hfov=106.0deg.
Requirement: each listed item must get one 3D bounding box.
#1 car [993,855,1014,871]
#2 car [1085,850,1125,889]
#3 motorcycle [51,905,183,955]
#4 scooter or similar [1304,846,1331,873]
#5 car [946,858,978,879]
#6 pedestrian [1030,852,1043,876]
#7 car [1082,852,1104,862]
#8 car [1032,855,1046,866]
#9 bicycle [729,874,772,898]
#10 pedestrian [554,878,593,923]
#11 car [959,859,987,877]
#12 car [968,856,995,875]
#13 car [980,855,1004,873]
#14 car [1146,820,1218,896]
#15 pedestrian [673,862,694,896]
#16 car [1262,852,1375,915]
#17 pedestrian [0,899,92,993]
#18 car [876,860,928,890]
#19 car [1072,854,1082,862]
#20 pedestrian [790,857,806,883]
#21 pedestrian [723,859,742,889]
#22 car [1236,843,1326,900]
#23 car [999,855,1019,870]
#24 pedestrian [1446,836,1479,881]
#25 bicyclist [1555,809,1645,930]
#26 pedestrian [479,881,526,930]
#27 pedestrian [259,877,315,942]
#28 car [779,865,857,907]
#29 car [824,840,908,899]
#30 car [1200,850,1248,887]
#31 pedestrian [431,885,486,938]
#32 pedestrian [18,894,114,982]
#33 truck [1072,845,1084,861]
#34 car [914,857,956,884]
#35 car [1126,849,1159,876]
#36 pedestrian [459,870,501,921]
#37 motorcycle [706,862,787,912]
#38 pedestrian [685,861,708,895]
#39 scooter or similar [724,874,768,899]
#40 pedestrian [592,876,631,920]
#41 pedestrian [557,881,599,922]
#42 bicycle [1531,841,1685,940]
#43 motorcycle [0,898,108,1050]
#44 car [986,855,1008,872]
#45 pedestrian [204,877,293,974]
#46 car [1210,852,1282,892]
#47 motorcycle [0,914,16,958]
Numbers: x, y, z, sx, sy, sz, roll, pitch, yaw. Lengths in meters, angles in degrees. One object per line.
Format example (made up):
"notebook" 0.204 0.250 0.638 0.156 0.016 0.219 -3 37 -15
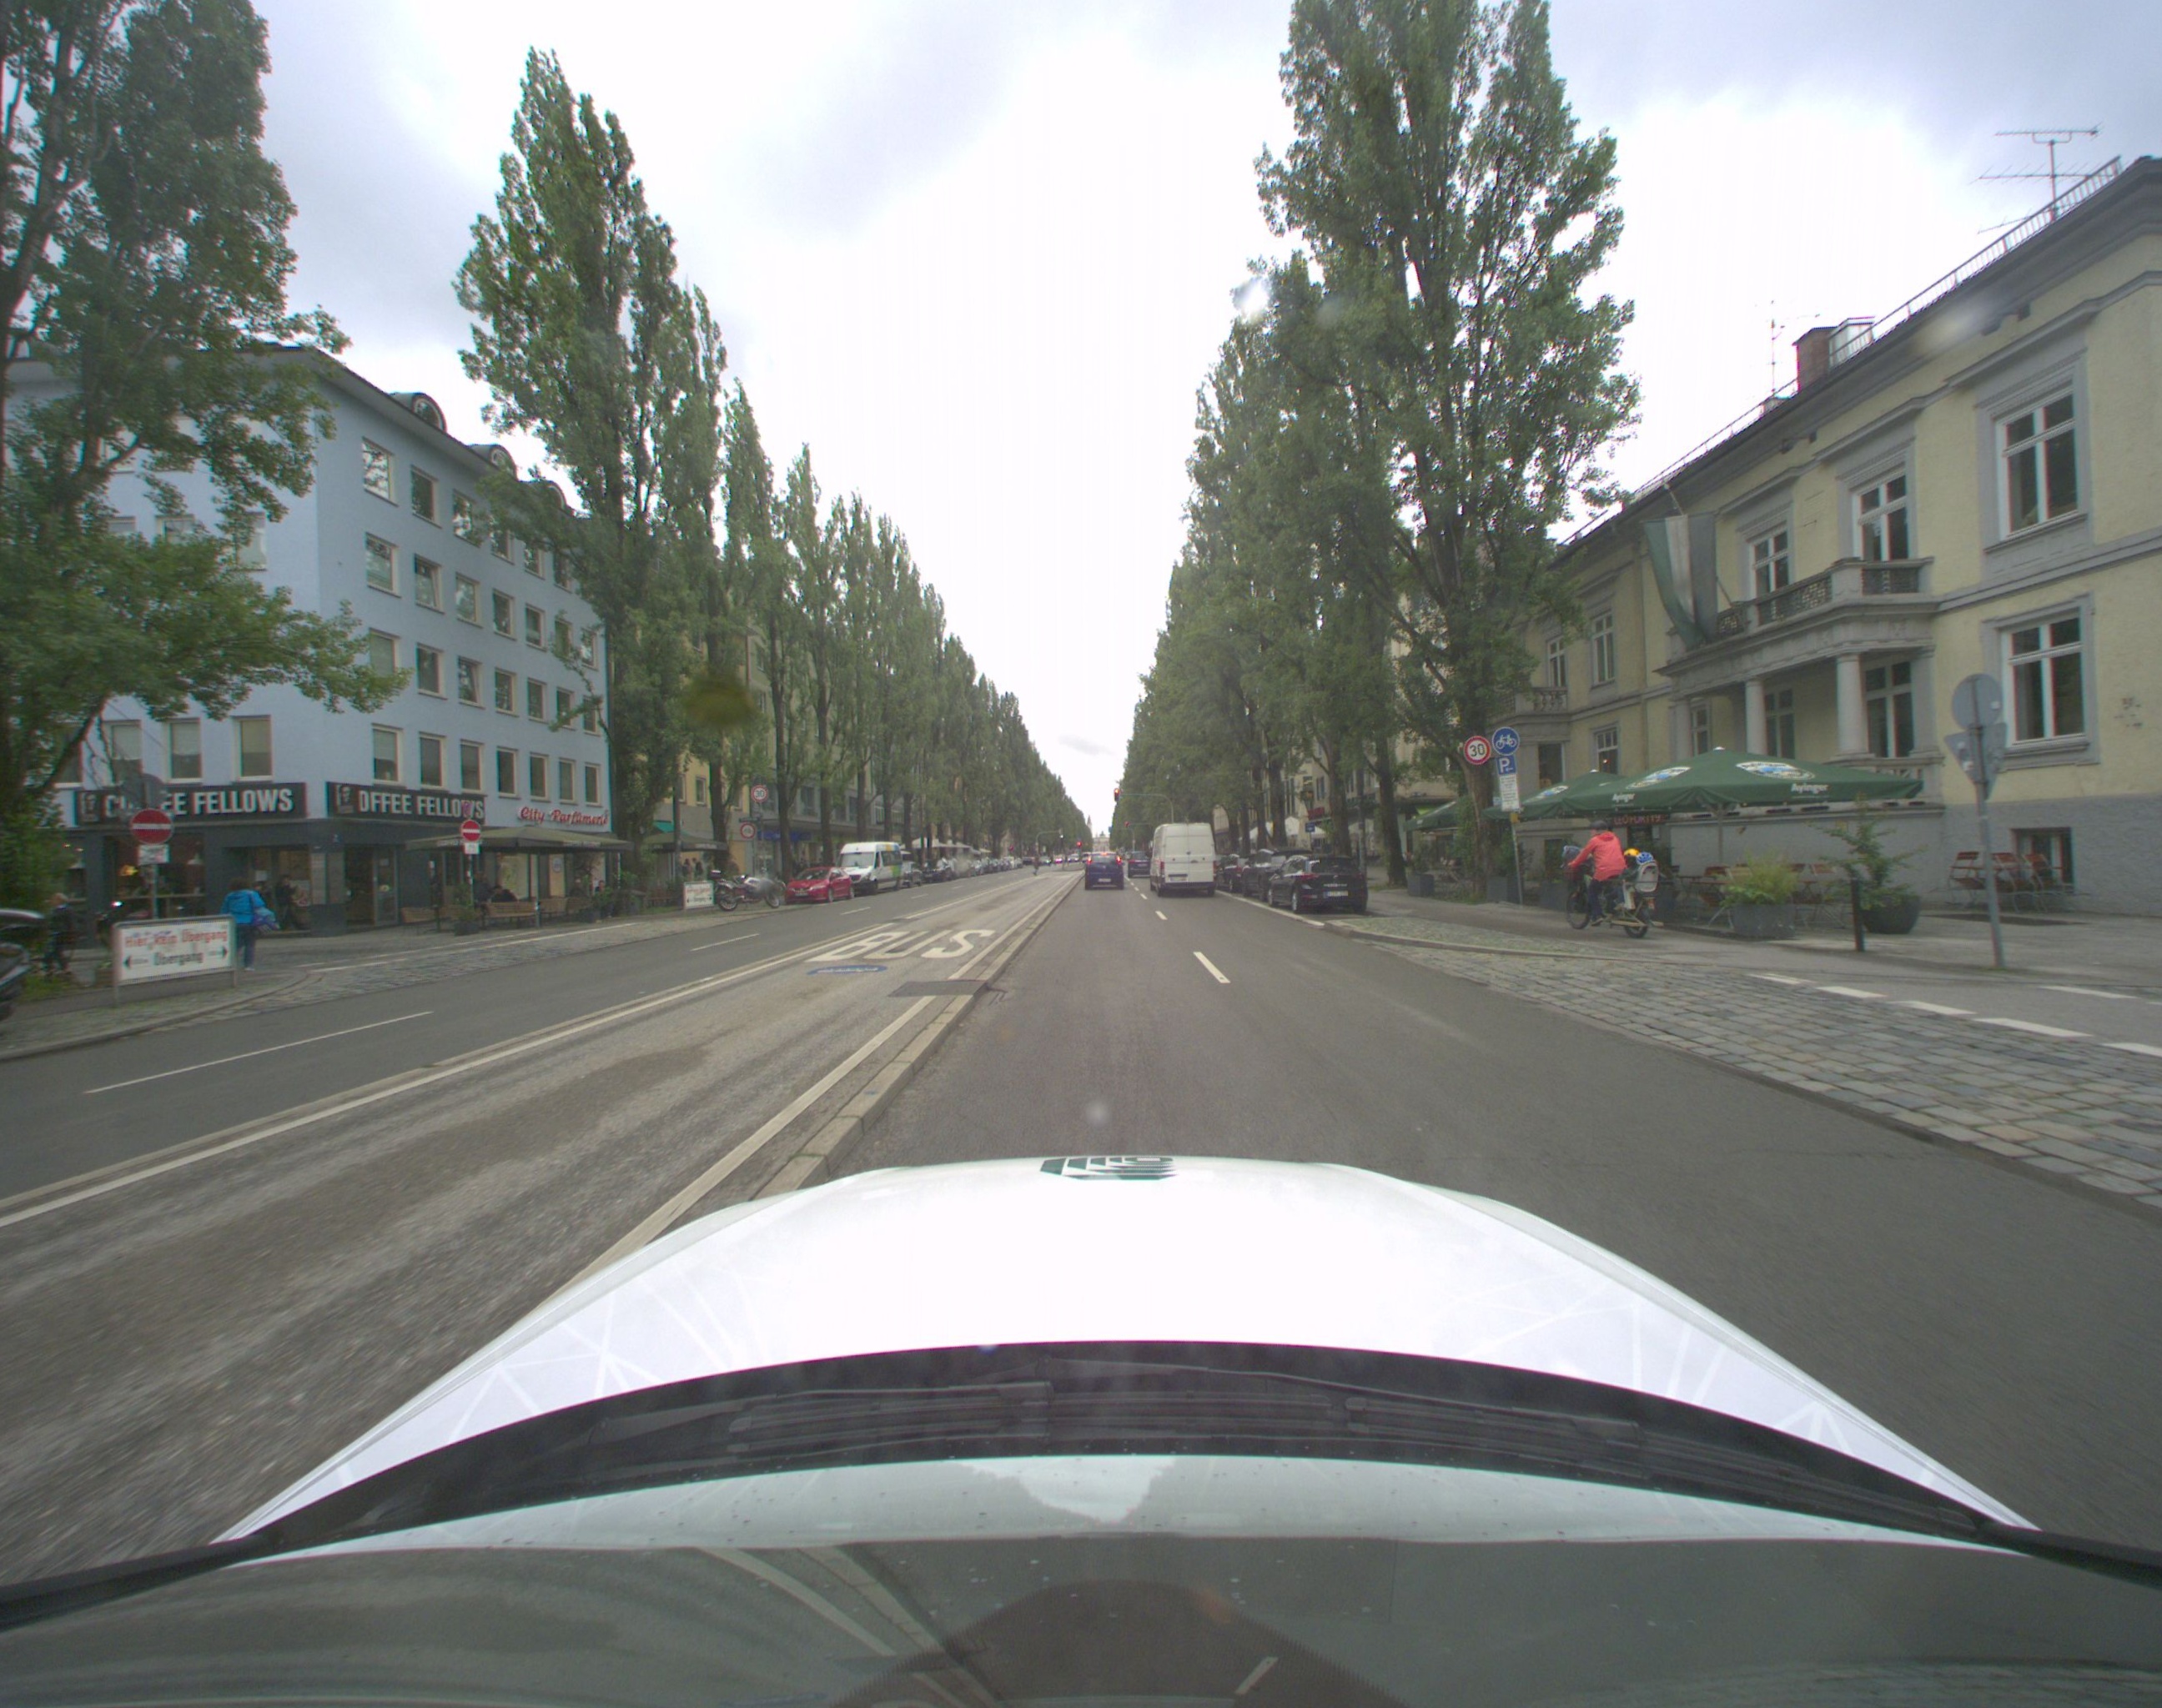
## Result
"car" -8.937 1.030 94.727 1.859 1.665 4.121 -4 0 1
"car" 1.062 0.645 35.901 1.665 1.568 4.002 -1 0 2
"motorcycle" -26.742 2.099 22.611 2.748 1.203 0.739 -3 2 2
"scooter or similar" 12.943 0.261 44.619 0.635 1.376 2.493 -3 1 -2
"car" -9.730 1.159 66.838 1.792 1.488 4.351 -4 0 1
"pedestrian" -3.124 0.693 57.056 0.857 1.684 0.626 -2 0 -2
"car" 2.080 0.553 139.321 3.368 1.561 1.728 -2 0 -22
"car" -6.380 0.919 123.051 1.691 1.462 4.714 -4 0 1
"bicycle" -15.335 1.496 37.759 1.768 1.026 0.421 -2 0 -2
"pedestrian" -15.931 1.445 25.567 0.711 1.362 0.700 -2 0 -1
"car" -9.554 1.187 72.342 1.727 1.425 4.144 -4 0 1
"car" -9.458 1.049 77.965 1.859 1.665 4.402 -4 0 1
"car" -9.187 1.050 84.461 1.859 1.665 4.121 -4 0 1
"car" 3.647 0.129 30.640 2.055 2.492 6.733 -1 0 2
"pedestrian" -19.336 1.222 39.642 0.691 1.636 0.567 -2 0 25
"car" 5.927 0.680 20.798 1.689 1.416 3.950 -2 0 0
"pedestrian" -19.498 1.697 15.275 0.694 1.647 0.931 -2 0 6
"car" -10.427 1.195 47.697 1.859 1.552 4.415 -4 0 1
"car" -0.742 0.734 154.153 1.728 1.465 3.366 -2 0 1
"pedestrian" -19.011 1.050 54.647 0.694 1.700 0.728 -2 0 6
"pedestrian" -19.714 1.134 46.101 0.695 1.636 0.727 -2 0 3
"car" 6.297 0.508 26.121 1.797 1.637 4.446 -1 0 0
"car" -8.788 0.990 99.988 1.859 1.665 4.121 -4 0 1
"pedestrian" 14.487 0.166 30.961 0.794 1.677 0.877 -2 0 1
"bicyclist" 7.935 0.233 12.482 0.764 1.766 0.885 -2 0 1
"pedestrian" -16.939 1.492 23.865 0.694 1.362 0.820 -2 0 4
"pedestrian" -22.950 1.580 23.546 0.953 1.773 0.693 -2 0 -30
"car" -10.762 1.269 33.643 1.731 1.419 4.149 -4 0 1
"car" -10.539 0.701 40.599 1.998 2.567 6.914 -4 0 1
"car" 6.147 0.599 35.249 1.587 1.518 2.728 -1 0 -1
"pedestrian" -17.136 1.560 22.448 0.694 1.362 0.951 -2 0 4
"pedestrian" -20.336 1.662 16.337 0.694 1.647 0.931 -2 0 6
"truck" -0.709 -0.208 183.465 2.374 3.346 7.113 -2 0 1
"car" -9.998 1.111 56.028 1.859 1.664 4.612 -4 0 1
"car" 3.809 0.515 51.018 1.889 1.622 4.002 -1 0 2
"pedestrian" -20.424 1.403 27.694 0.753 1.686 0.786 -2 0 4
"motorcycle" -11.162 1.082 27.238 2.360 1.563 0.706 -1 0 -41
"pedestrian" -18.947 1.170 40.133 0.691 1.636 0.731 -2 0 25
"scooter or similar" -15.299 1.491 37.173 1.768 1.026 0.421 -2 0 -2
"pedestrian" -15.174 1.410 26.321 0.695 1.362 0.848 -2 0 0
"pedestrian" -15.452 1.457 25.022 0.813 1.182 0.700 -2 0 0
"bicycle" 7.945 0.503 12.455 0.770 1.349 2.450 -2 0 1
"motorcycle" -11.305 1.221 8.490 0.748 1.414 2.430 -2 0 -32
"car" -9.183 1.051 89.201 1.859 1.665 4.121 -4 0 1
"pedestrian" -15.081 1.271 14.780 0.699 1.647 0.945 -2 0 -15
"car" 6.296 0.643 31.511 1.705 1.393 4.339 -1 0 -3
"motorcycle" -31.522 2.364 22.676 2.748 1.203 0.739 -3 2 2
